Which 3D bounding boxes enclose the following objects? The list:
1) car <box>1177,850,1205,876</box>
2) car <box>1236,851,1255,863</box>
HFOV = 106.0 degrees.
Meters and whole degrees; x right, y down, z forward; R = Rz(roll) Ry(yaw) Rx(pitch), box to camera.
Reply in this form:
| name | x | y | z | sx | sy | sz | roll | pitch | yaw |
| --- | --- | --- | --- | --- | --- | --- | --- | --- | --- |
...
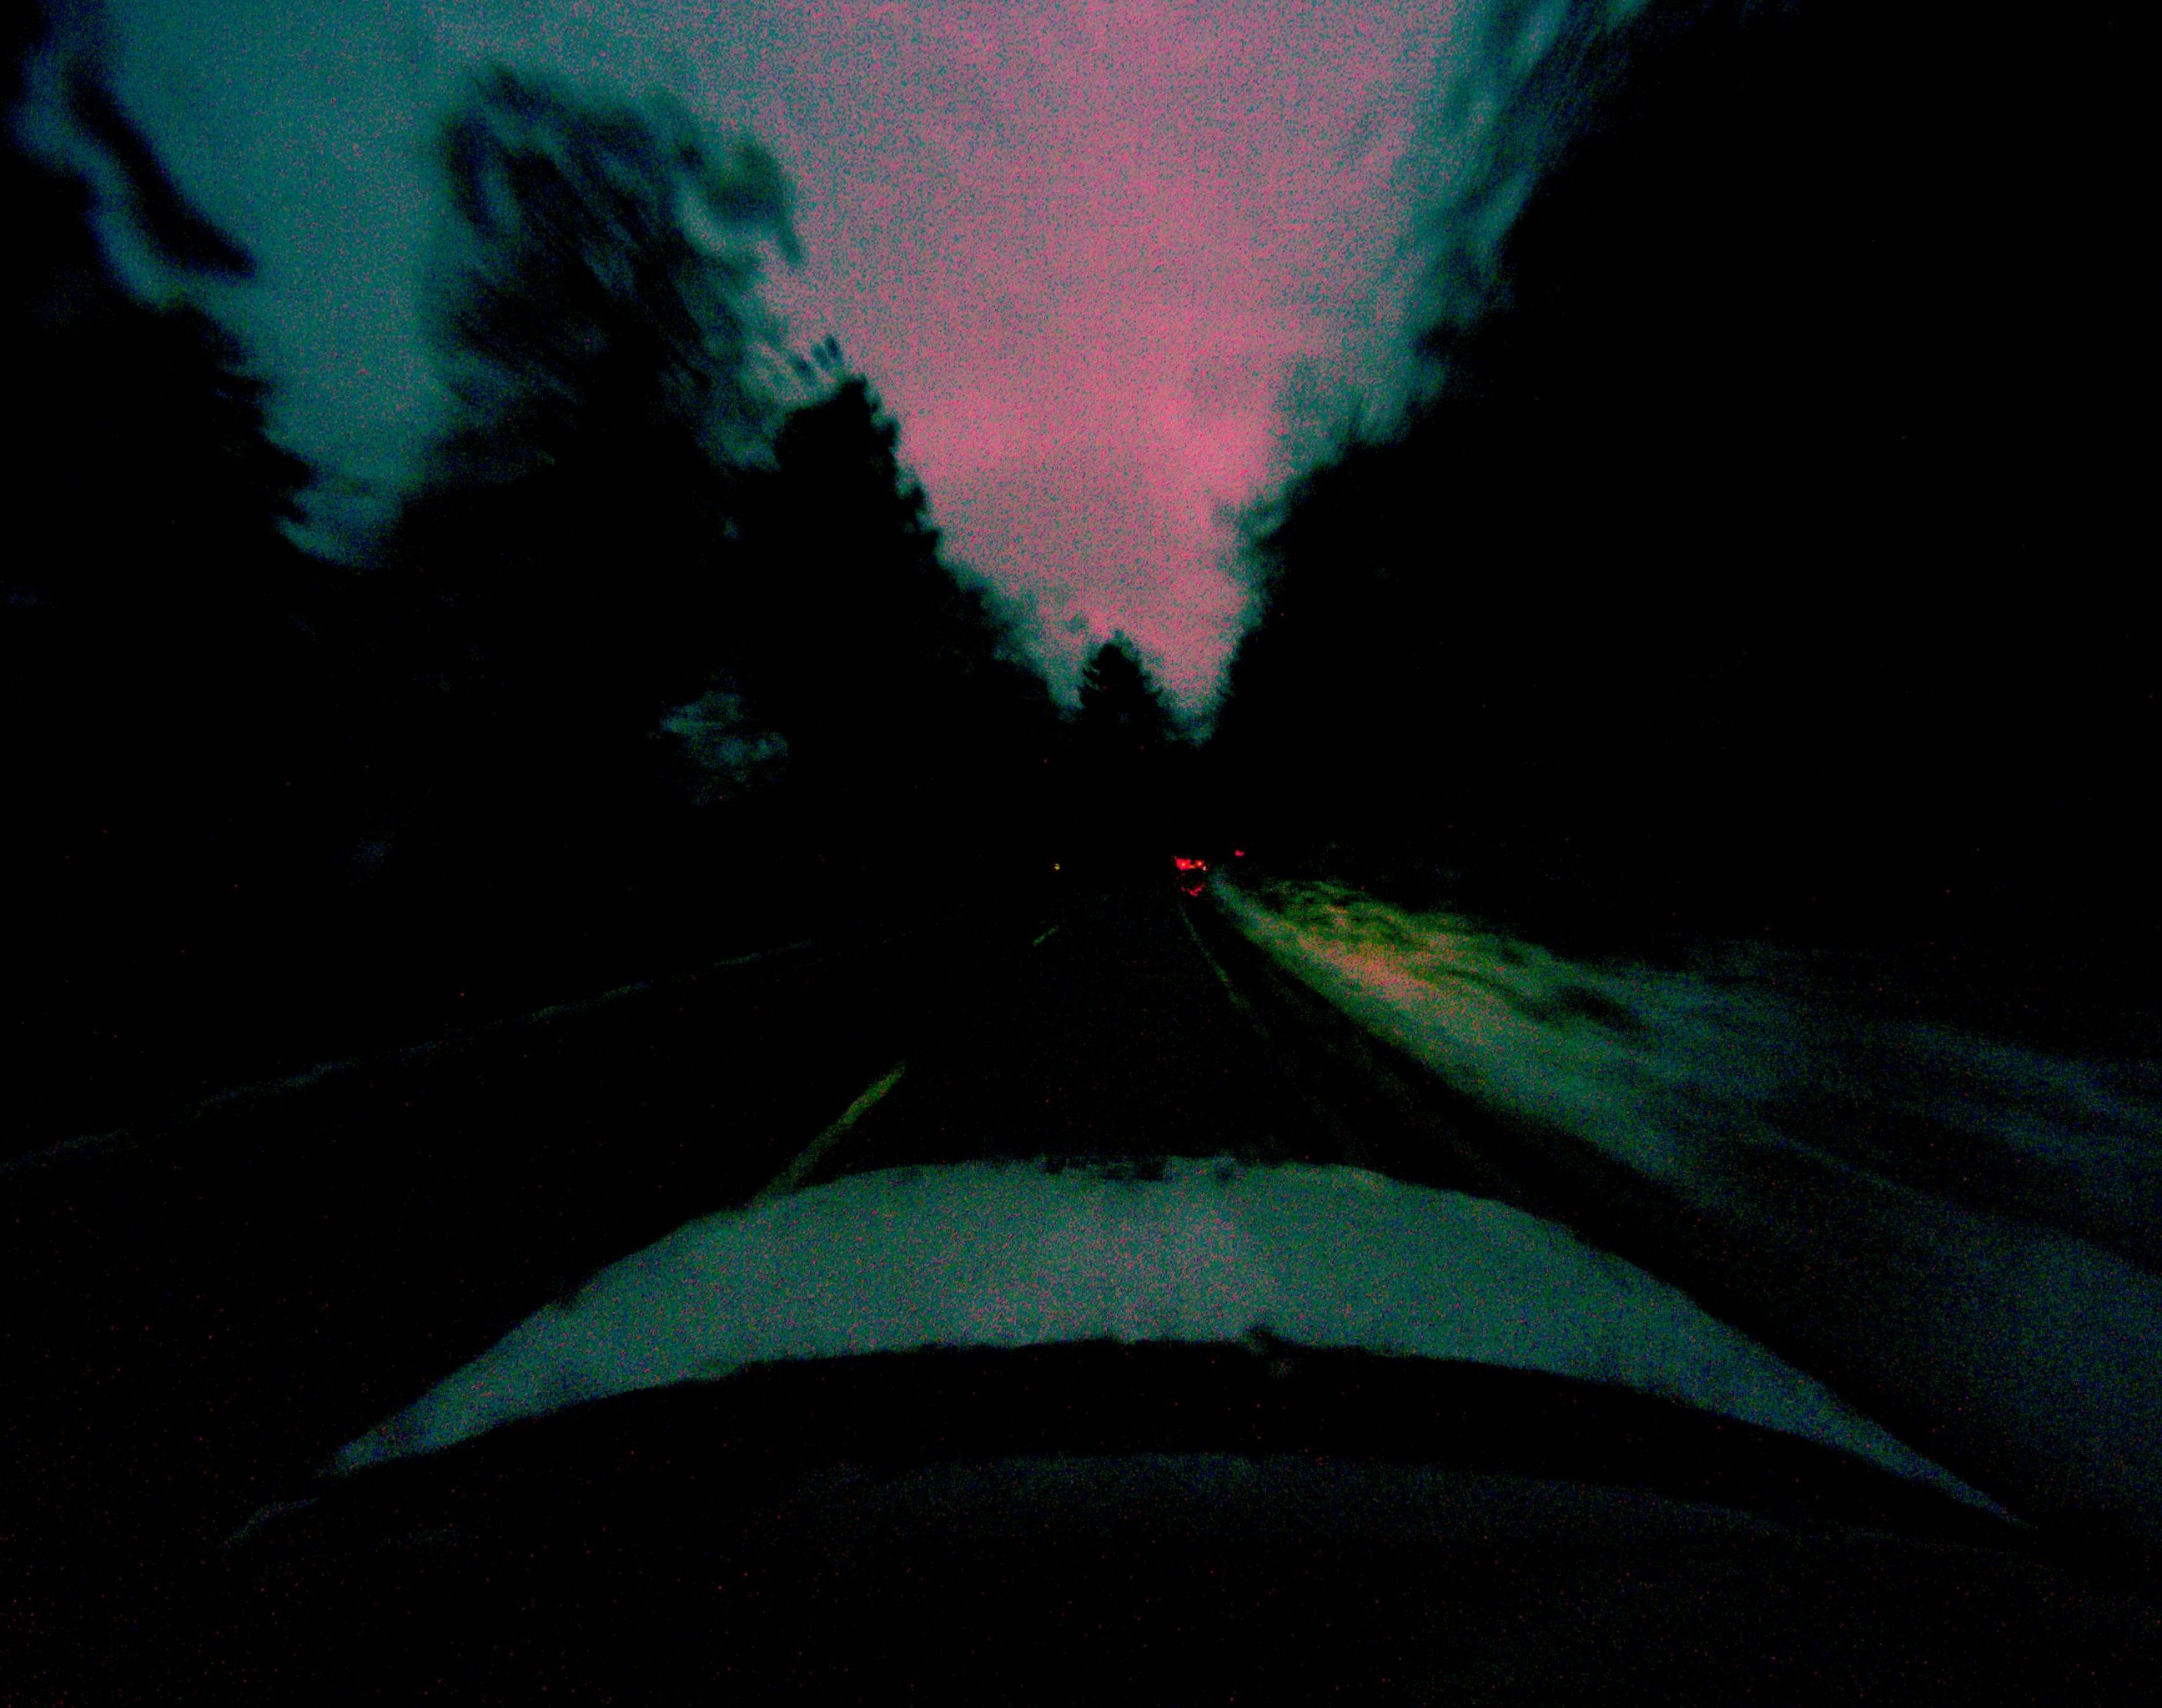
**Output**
| name | x | y | z | sx | sy | sz | roll | pitch | yaw |
| --- | --- | --- | --- | --- | --- | --- | --- | --- | --- |
| car | 8.570 | 0.657 | 63.762 | 1.983 | 1.872 | 4.007 | -3 | 0 | 6 |
| car | 19.363 | 0.309 | 95.720 | 1.979 | 1.310 | 4.015 | -3 | 0 | 14 |
